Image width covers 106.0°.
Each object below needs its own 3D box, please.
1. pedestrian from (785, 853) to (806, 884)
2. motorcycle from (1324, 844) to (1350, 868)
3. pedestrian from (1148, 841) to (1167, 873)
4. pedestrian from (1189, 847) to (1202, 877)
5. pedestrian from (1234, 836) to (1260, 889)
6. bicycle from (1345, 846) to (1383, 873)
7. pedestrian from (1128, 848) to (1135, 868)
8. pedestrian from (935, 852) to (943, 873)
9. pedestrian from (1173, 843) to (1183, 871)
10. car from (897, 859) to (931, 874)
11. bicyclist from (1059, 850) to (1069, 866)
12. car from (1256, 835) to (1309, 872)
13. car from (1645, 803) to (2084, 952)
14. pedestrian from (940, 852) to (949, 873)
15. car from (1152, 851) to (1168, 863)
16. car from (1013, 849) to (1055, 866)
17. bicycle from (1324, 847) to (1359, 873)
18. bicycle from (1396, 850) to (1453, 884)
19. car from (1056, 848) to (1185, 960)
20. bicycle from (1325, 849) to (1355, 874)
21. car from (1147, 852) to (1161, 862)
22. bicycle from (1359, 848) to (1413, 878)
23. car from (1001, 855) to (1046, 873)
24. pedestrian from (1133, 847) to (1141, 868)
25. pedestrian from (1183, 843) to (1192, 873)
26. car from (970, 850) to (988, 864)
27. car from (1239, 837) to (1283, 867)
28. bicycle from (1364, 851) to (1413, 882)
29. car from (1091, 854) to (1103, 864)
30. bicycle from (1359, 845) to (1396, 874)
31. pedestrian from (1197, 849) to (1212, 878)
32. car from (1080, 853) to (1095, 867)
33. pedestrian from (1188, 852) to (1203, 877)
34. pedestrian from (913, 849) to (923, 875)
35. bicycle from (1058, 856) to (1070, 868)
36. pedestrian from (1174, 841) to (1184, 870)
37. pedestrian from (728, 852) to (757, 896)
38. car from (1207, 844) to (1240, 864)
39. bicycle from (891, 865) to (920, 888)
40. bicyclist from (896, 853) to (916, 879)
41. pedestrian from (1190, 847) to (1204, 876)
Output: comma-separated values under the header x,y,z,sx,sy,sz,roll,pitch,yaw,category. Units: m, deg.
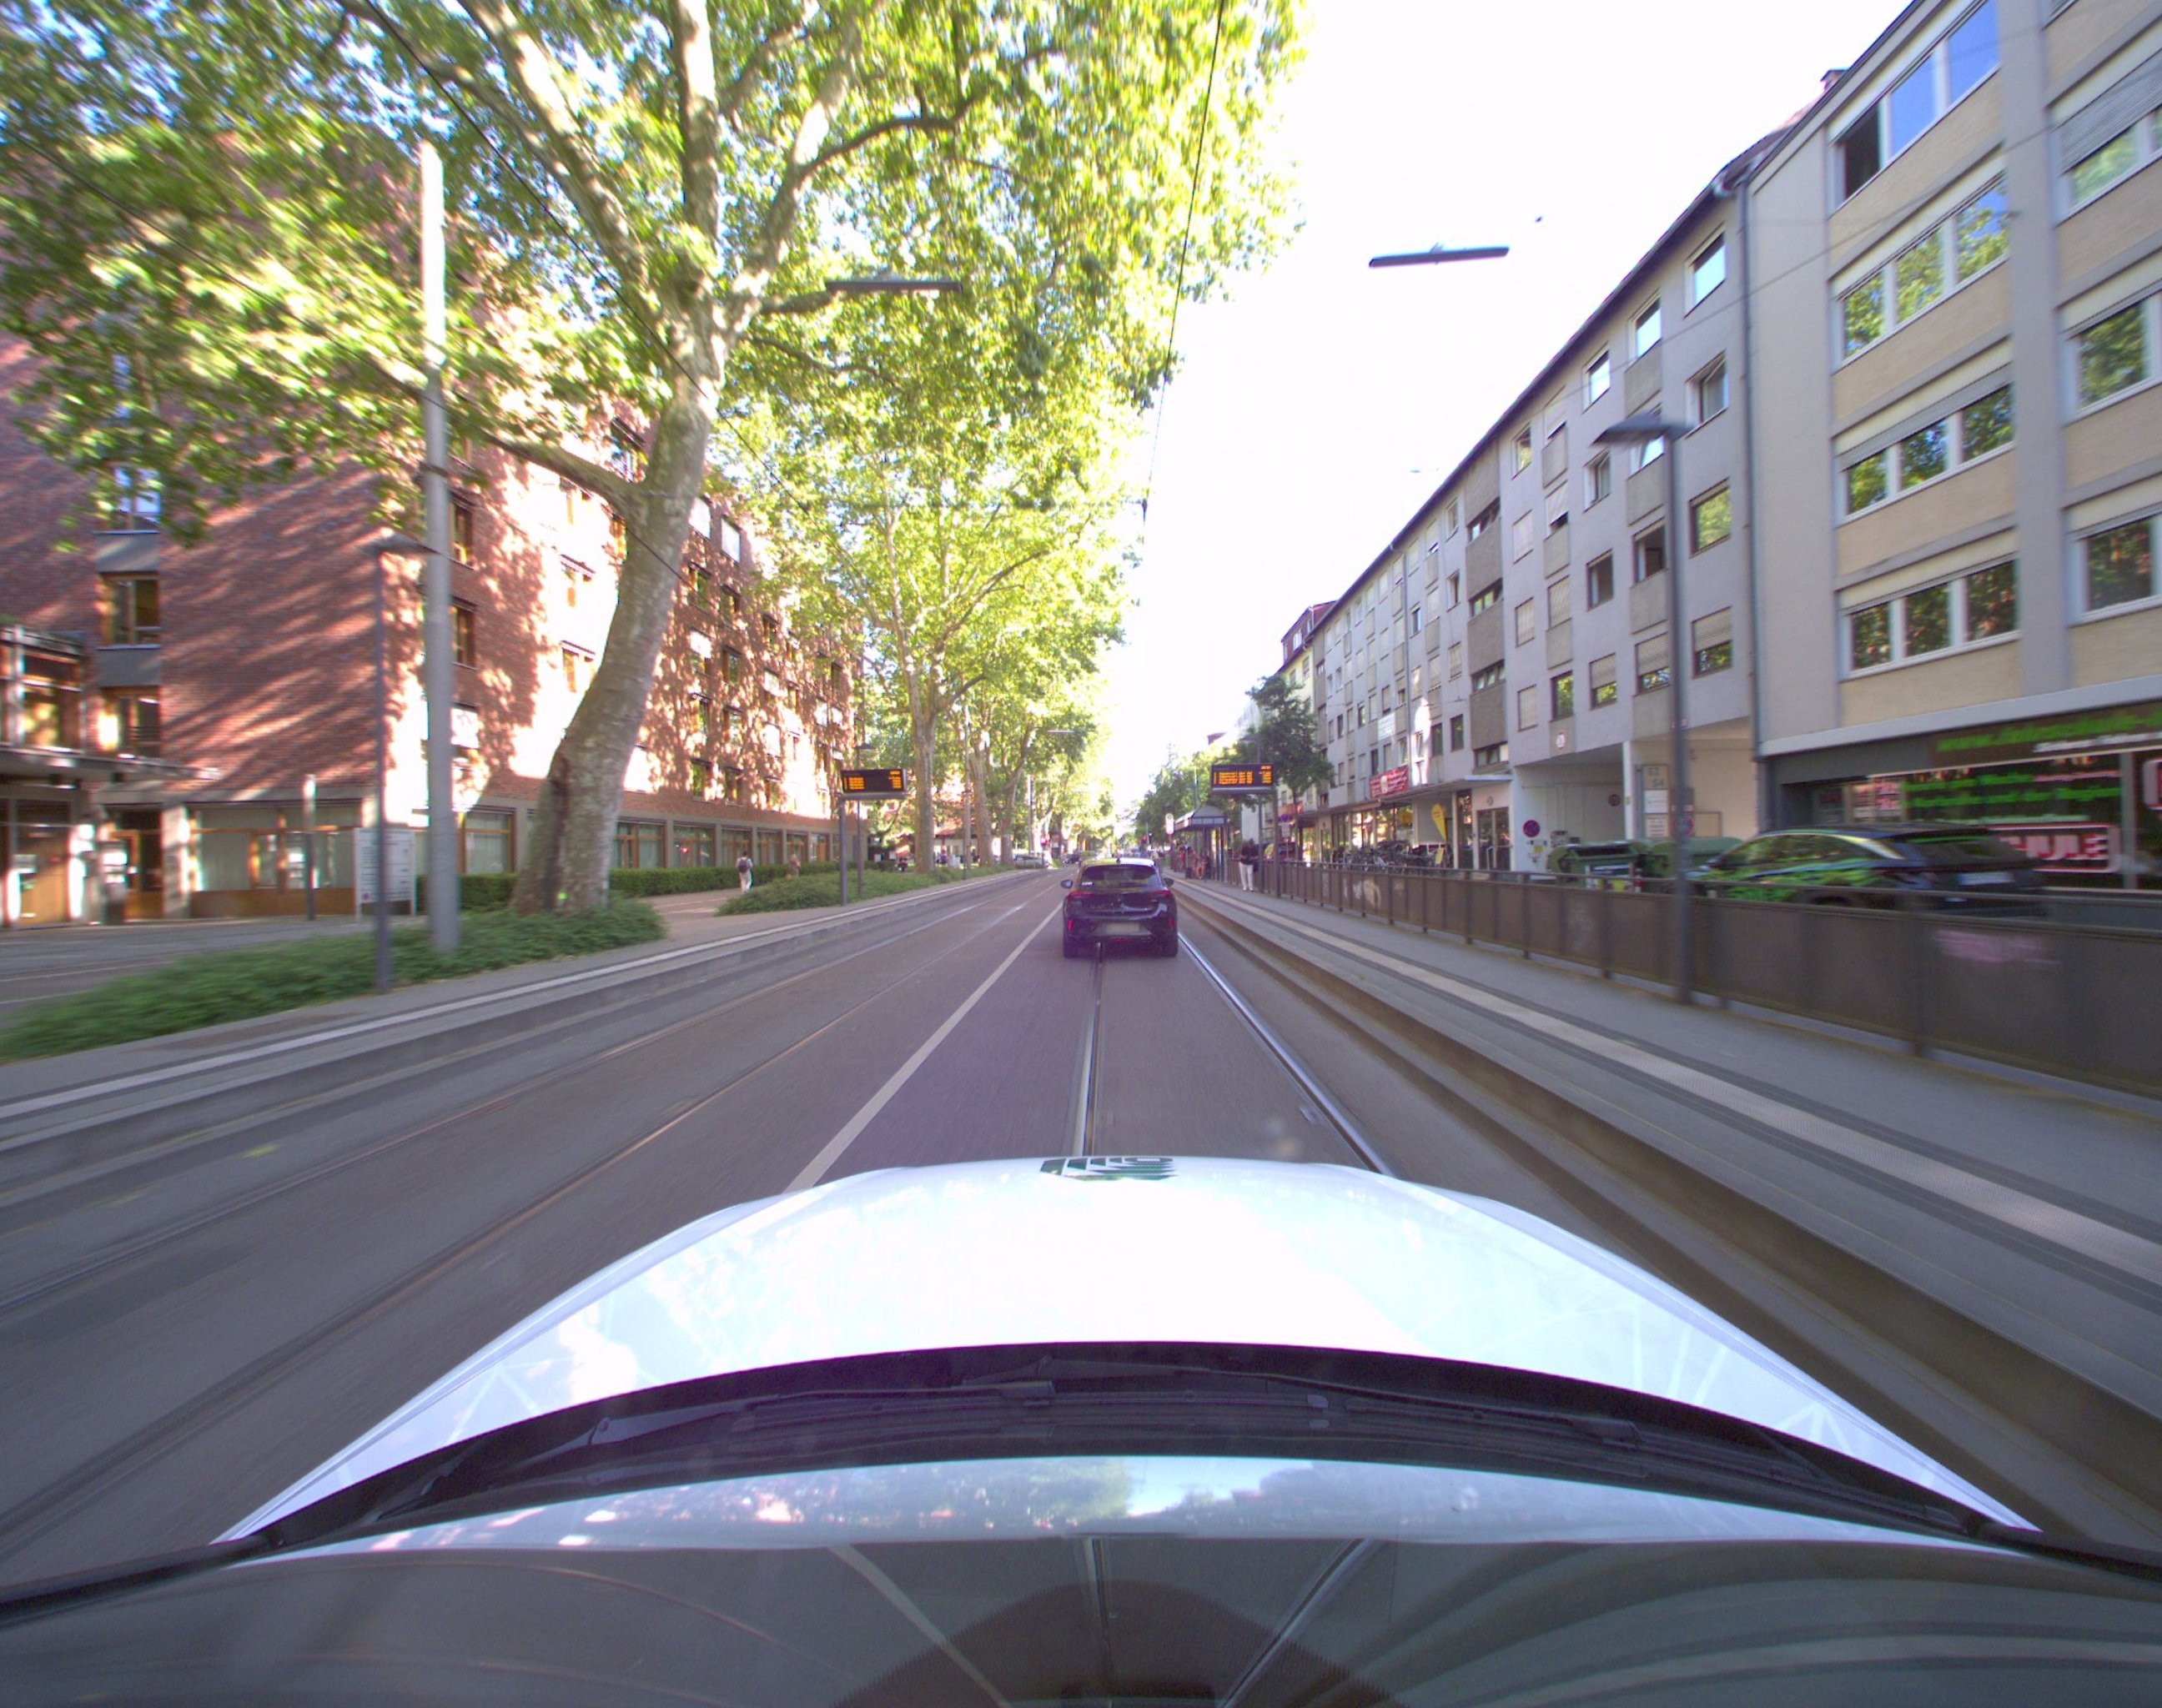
x,y,z,sx,sy,sz,roll,pitch,yaw,category
-14.904,0.752,42.520,0.772,1.605,0.946,-1,-1,2,pedestrian
14.406,0.123,45.815,0.888,1.280,2.044,-1,0,2,motorcycle
4.135,0.148,43.929,0.742,1.709,0.768,-1,-1,36,pedestrian
5.116,0.364,36.479,0.501,1.304,0.428,0,-1,-3,pedestrian
5.082,0.253,24.952,0.628,1.576,0.871,1,0,2,pedestrian
12.450,0.246,35.855,0.597,1.136,2.197,0,0,-9,bicycle
4.947,0.392,79.579,0.671,2.013,0.703,1,0,8,pedestrian
-13.487,0.826,77.490,0.670,1.950,0.498,1,0,-2,pedestrian
5.896,0.177,49.413,0.529,1.709,0.596,-1,-1,4,pedestrian
-22.913,1.739,111.684,4.234,2.014,2.001,-1,0,1,car
-1.737,0.414,85.236,0.936,1.703,1.154,-1,-1,5,bicyclist
11.123,-0.034,45.165,1.986,1.952,4.001,-1,0,1,car
10.094,0.272,11.112,1.850,1.615,4.399,-1,0,2,car
-12.834,0.828,76.542,0.670,1.950,0.498,1,0,-2,pedestrian
11.261,0.415,115.983,1.986,1.632,4.002,-1,0,2,car
-5.029,0.369,86.891,4.378,1.851,1.996,0,0,-6,car
11.778,0.258,36.880,0.597,1.136,2.197,0,0,-9,bicycle
11.951,0.454,28.417,0.621,1.136,2.431,0,0,-9,bicycle
0.551,0.708,13.209,1.754,1.508,3.682,-2,0,0,car
12.151,0.333,38.288,0.596,1.136,2.201,0,0,-4,bicycle
11.526,0.484,128.706,1.986,1.632,4.002,-1,0,2,car
12.048,0.353,32.286,0.611,1.136,2.912,0,0,-9,bicycle
-5.358,0.931,76.084,4.108,1.701,1.880,0,0,-6,car
5.398,0.293,78.744,0.670,2.013,0.704,1,0,13,pedestrian
6.369,0.249,48.726,0.529,1.763,0.662,-1,-1,4,pedestrian
-14.929,0.436,119.841,1.986,2.014,4.002,-1,0,2,car
11.463,-0.096,52.011,1.986,1.797,4.001,-1,0,1,car
11.634,0.453,30.884,0.602,1.136,2.427,0,0,-9,bicycle
2.850,0.856,143.583,1.987,1.693,4.000,0,0,0,car
12.328,0.225,33.903,0.410,1.136,2.197,0,0,-9,bicycle
5.372,0.400,35.438,0.533,1.230,0.510,0,-1,-3,pedestrian
0.721,0.658,92.755,1.739,1.544,4.000,0,0,0,car
5.046,0.457,35.965,0.533,1.099,0.550,0,-1,-3,pedestrian
-12.411,0.623,62.048,0.493,1.950,0.677,-1,-1,14,pedestrian
-1.731,0.812,85.283,0.950,1.240,2.981,-1,0,5,bicycle
5.773,0.098,48.019,0.529,1.709,0.753,-1,-1,4,pedestrian
-13.133,0.774,31.613,0.732,1.672,0.861,-1,-1,2,pedestrian
11.159,0.021,64.065,1.986,1.486,4.002,-1,0,2,car
-10.202,1.279,47.392,0.951,1.240,2.979,-1,0,2,bicycle
-10.202,0.698,47.395,0.951,1.491,0.838,-1,-1,1,bicyclist
5.254,0.346,37.022,0.533,1.304,0.550,0,-1,-3,pedestrian
